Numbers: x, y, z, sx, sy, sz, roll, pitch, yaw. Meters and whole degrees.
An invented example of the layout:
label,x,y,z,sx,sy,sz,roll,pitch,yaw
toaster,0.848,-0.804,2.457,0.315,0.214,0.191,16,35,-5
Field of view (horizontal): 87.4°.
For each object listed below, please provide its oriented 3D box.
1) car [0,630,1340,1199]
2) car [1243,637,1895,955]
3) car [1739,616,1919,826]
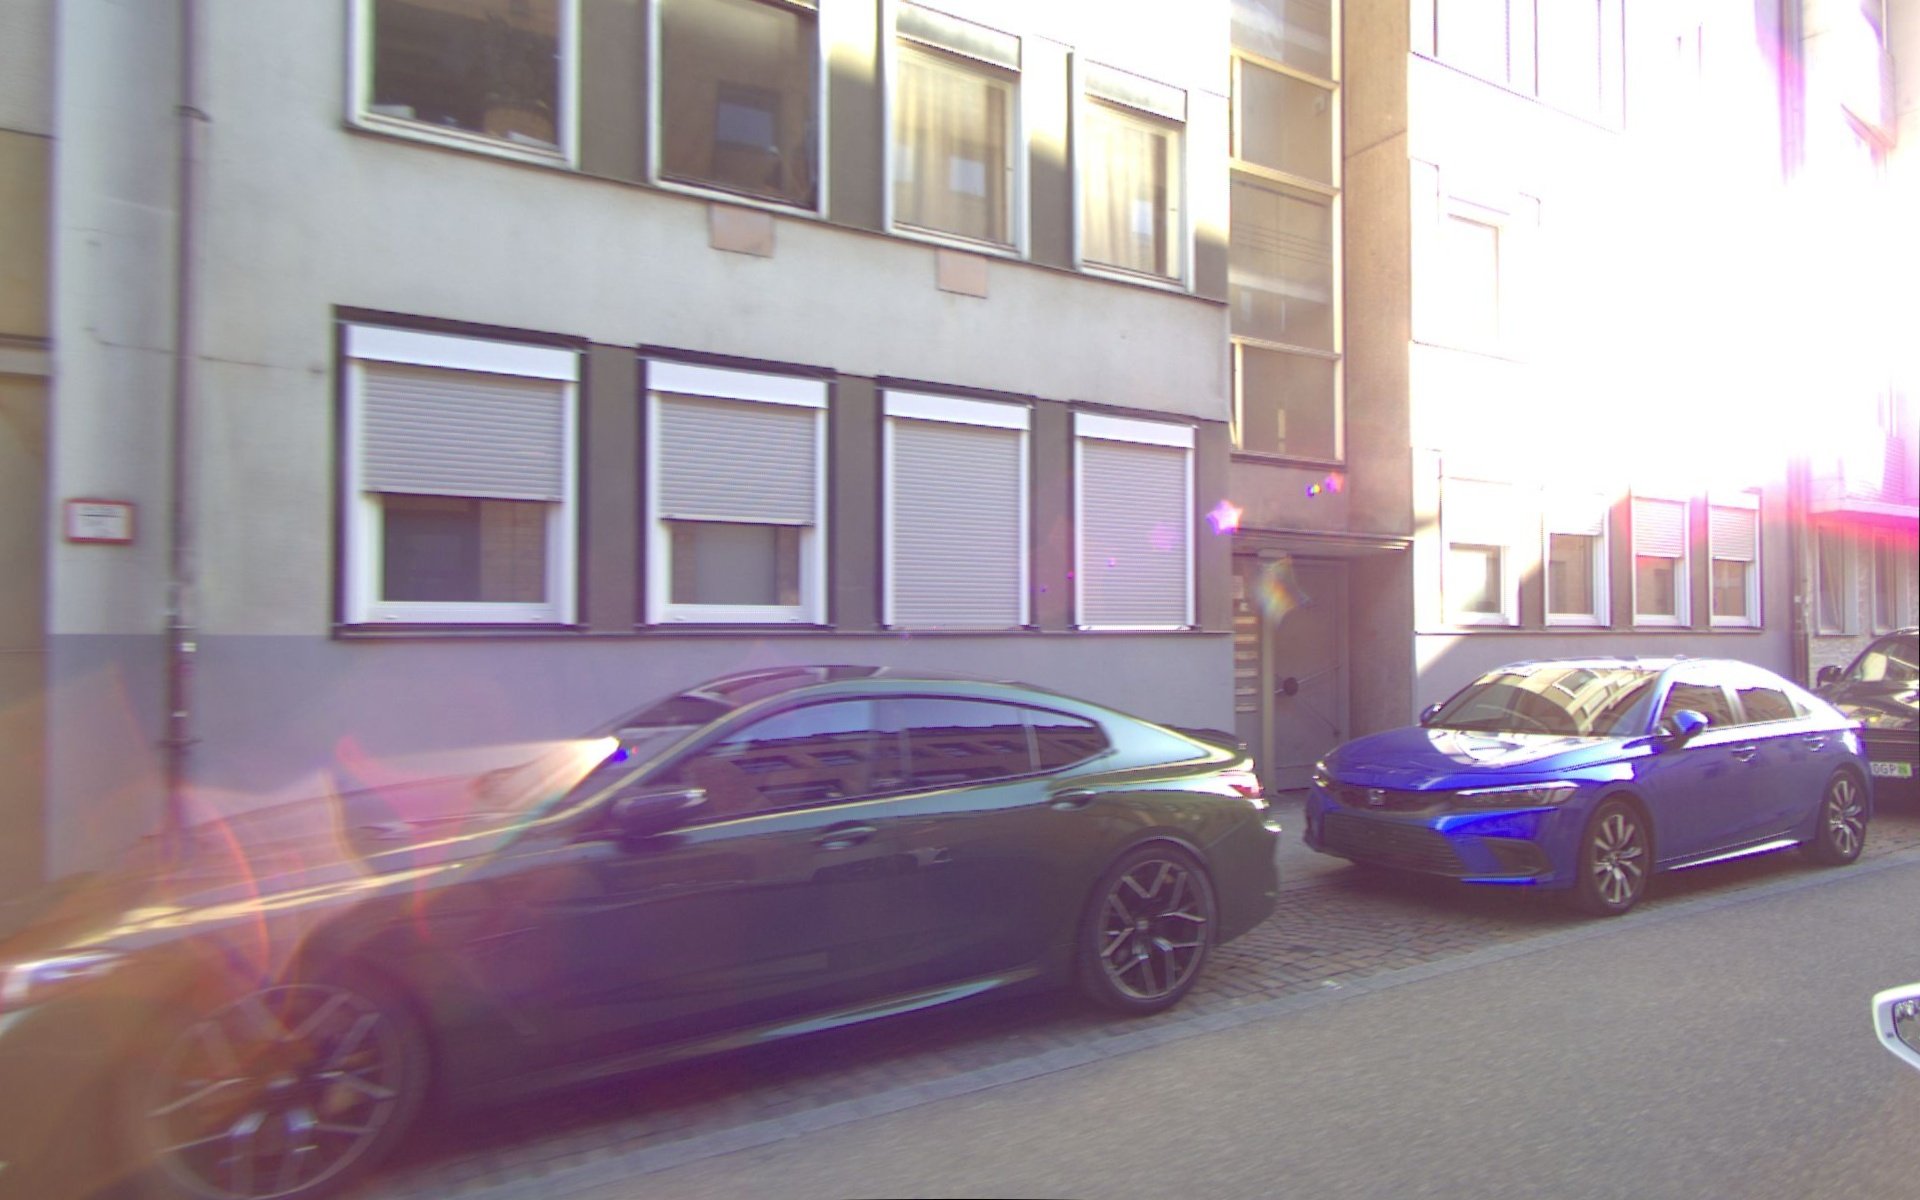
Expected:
label,x,y,z,sx,sy,sz,roll,pitch,yaw
car,-0.802,0.972,4.264,4.669,1.550,1.883,0,-4,-28
car,4.221,1.056,6.882,4.285,1.550,1.883,1,-2,-28
car,9.607,1.007,9.399,4.494,1.697,1.884,0,-2,-27
